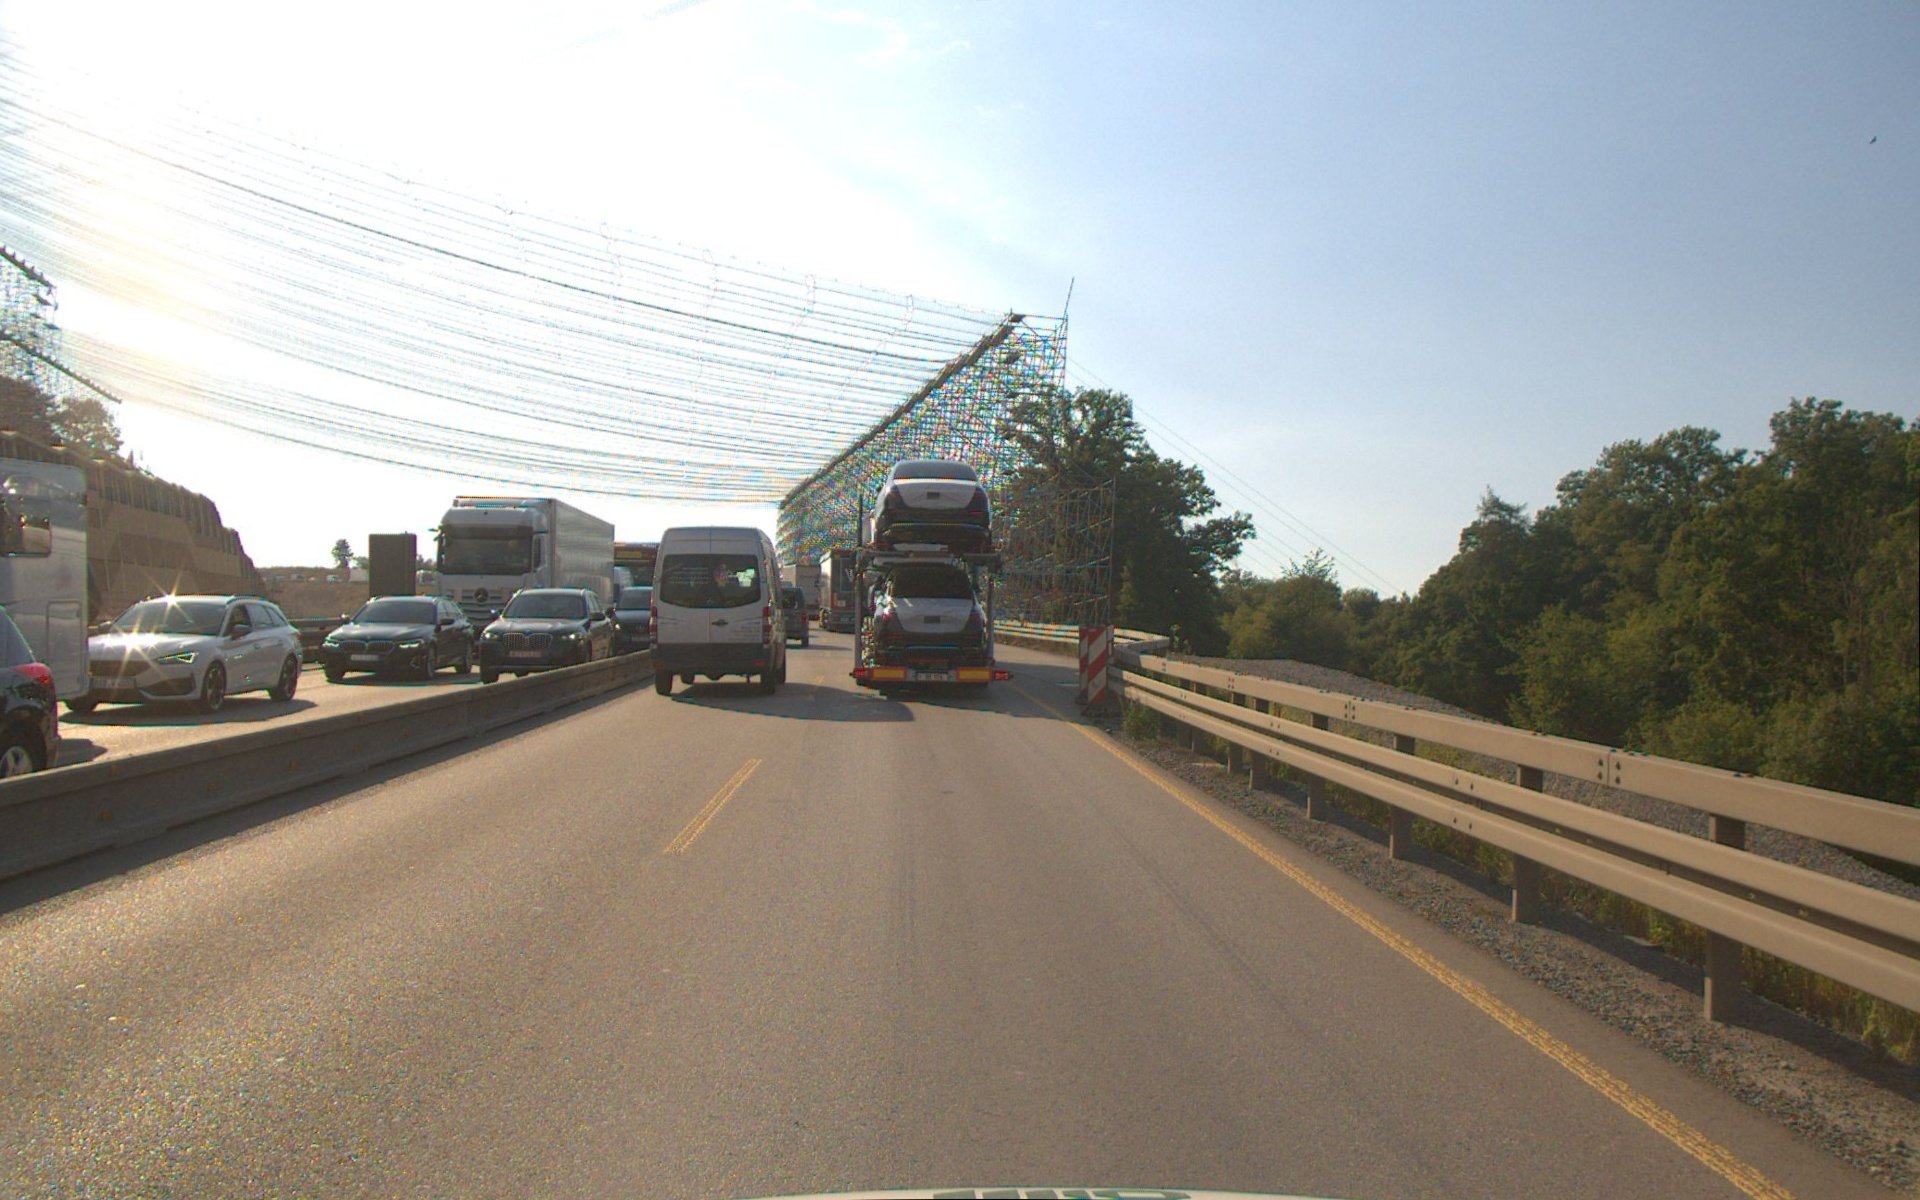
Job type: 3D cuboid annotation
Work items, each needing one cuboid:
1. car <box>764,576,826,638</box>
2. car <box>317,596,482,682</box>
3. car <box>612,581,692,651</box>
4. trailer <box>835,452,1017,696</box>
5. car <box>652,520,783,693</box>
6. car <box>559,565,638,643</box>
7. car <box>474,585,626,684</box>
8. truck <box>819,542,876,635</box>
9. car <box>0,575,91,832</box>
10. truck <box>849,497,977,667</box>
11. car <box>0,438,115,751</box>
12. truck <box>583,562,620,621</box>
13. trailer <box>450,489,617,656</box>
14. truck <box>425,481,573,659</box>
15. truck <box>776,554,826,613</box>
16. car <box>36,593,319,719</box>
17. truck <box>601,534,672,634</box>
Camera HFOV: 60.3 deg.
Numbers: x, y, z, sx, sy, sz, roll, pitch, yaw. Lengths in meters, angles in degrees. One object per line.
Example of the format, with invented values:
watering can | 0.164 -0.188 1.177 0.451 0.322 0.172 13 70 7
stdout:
car | -5.754 0.263 57.417 1.956 2.049 3.993 1 -1 -8
car | -10.335 0.687 30.851 1.708 1.486 4.710 0 0 -3
car | -8.712 0.397 47.180 1.770 1.803 5.446 1 1 -6
trailer | -0.851 -0.358 33.352 2.811 3.790 14.939 1 0 -2
car | -3.946 0.120 27.470 1.918 2.667 3.995 0 -1 -5
car | -13.627 0.082 62.713 1.982 2.737 6.942 2 1 -5
car | -7.454 0.564 30.530 1.781 1.606 4.753 -1 1 -3
truck | -5.864 -0.605 86.582 2.678 4.462 11.512 2 0 -4
car | -6.683 0.628 9.113 1.746 1.548 3.999 2 1 -2
truck | -1.172 -0.384 40.706 2.824 3.767 7.322 1 0 -2
car | -10.195 -0.067 14.111 2.287 2.969 7.629 0 -1 -2
truck | -27.073 -0.600 124.757 2.617 4.304 6.083 1 0 -13
trailer | -12.437 -0.673 49.644 2.668 4.292 13.732 1 0 -5
truck | -11.805 -0.705 42.822 2.660 4.292 5.675 1 0 -6
truck | -12.555 -1.274 129.850 3.616 4.294 13.650 -2 1 -6
car | -10.161 0.684 21.909 1.714 1.447 4.607 1 -1 -3
truck | -14.690 -0.681 75.424 2.693 4.375 5.924 1 0 -7
